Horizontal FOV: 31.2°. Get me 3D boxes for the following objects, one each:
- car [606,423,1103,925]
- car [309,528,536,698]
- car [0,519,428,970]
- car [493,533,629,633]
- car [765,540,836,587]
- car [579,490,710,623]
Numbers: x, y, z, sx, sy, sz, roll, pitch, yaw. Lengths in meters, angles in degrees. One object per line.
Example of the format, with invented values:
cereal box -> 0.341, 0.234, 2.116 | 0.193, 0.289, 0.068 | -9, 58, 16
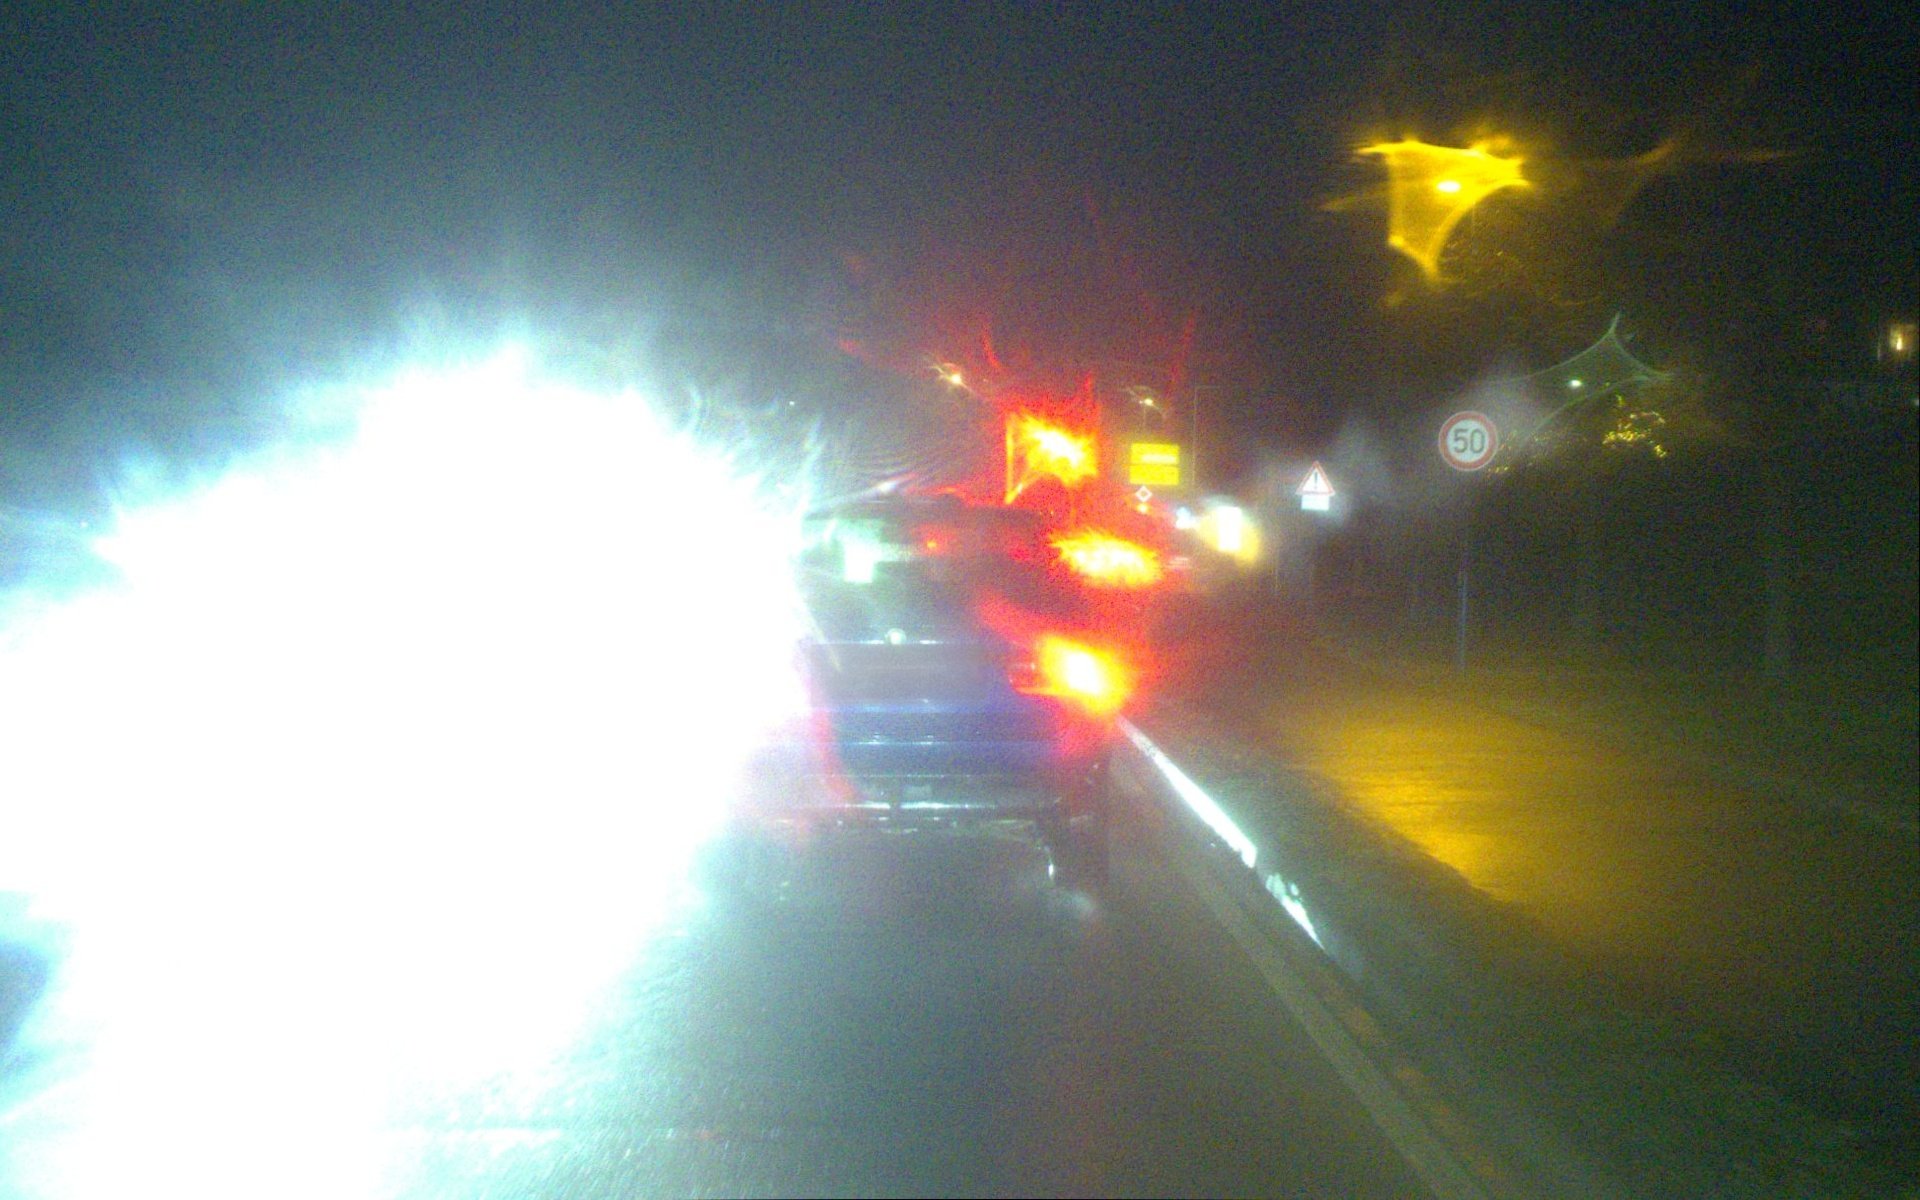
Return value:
car -> -0.458, 0.251, 15.691 | 1.942, 1.965, 4.218 | 1, 1, -1
car -> -5.478, 0.083, 35.500 | 1.805, 1.624, 4.416 | 1, 1, -2
car -> -3.483, 0.454, 14.288 | 1.844, 1.569, 4.597 | 0, 1, 0
car -> -6.571, -0.309, 56.977 | 1.720, 1.583, 4.312 | 1, 1, 0
car -> -5.089, -1.189, 110.383 | 2.077, 1.444, 4.992 | 1, 1, 0
car -> -6.677, -0.939, 73.435 | 2.122, 2.698, 6.240 | 1, 1, 1
